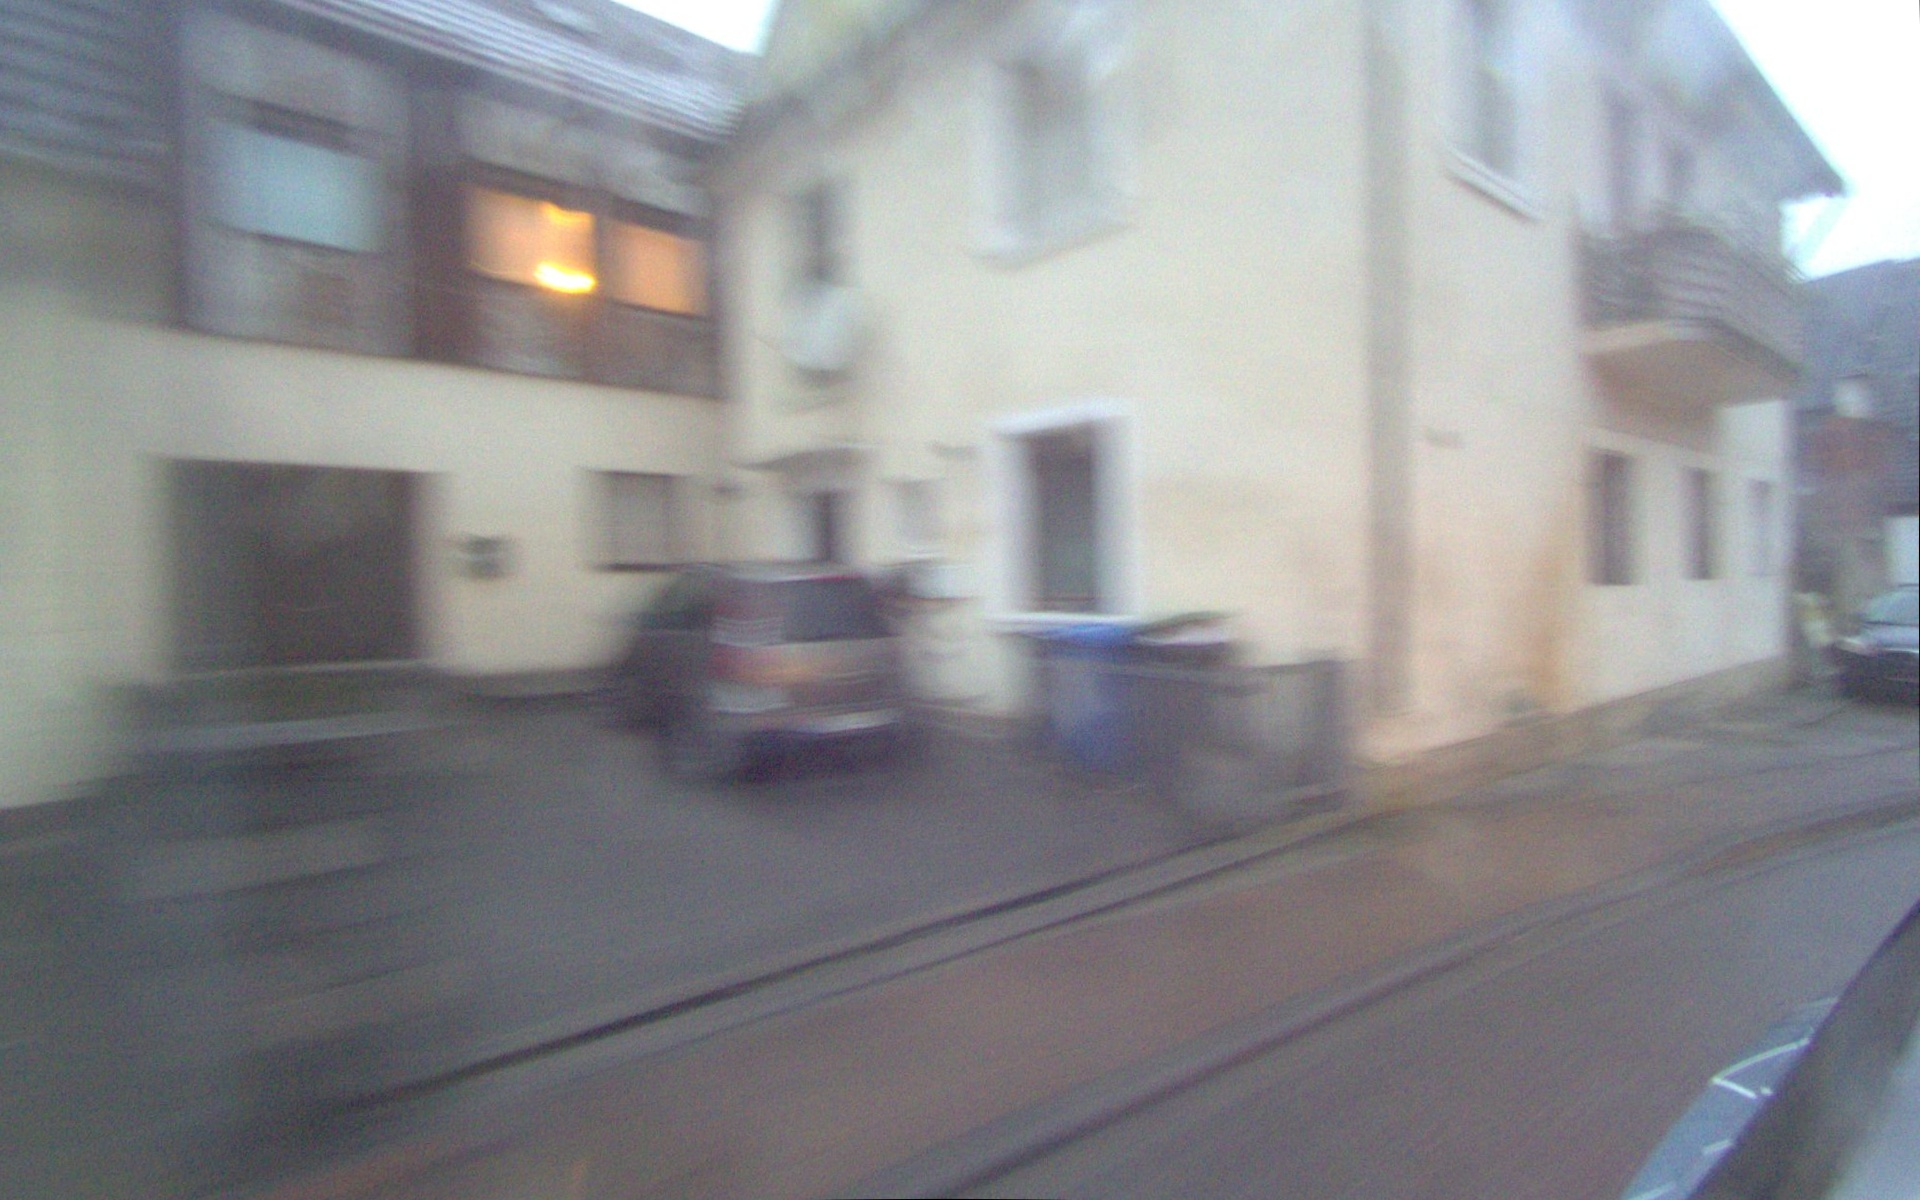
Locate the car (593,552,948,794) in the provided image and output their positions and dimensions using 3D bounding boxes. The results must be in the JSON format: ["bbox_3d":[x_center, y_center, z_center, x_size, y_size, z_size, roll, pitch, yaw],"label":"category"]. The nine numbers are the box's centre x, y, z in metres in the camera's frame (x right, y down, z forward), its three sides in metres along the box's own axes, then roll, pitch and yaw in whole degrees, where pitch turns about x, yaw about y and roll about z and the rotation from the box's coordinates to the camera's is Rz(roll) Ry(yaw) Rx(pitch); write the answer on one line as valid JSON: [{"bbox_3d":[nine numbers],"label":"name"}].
[{"bbox_3d":[-1.725,0.394,8.255,1.618,1.524,3.493,0,2,-33],"label":"car"}]

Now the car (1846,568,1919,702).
[{"bbox_3d":[13.233,0.392,13.218,4.202,1.505,1.811,-3,3,-39],"label":"car"}]
